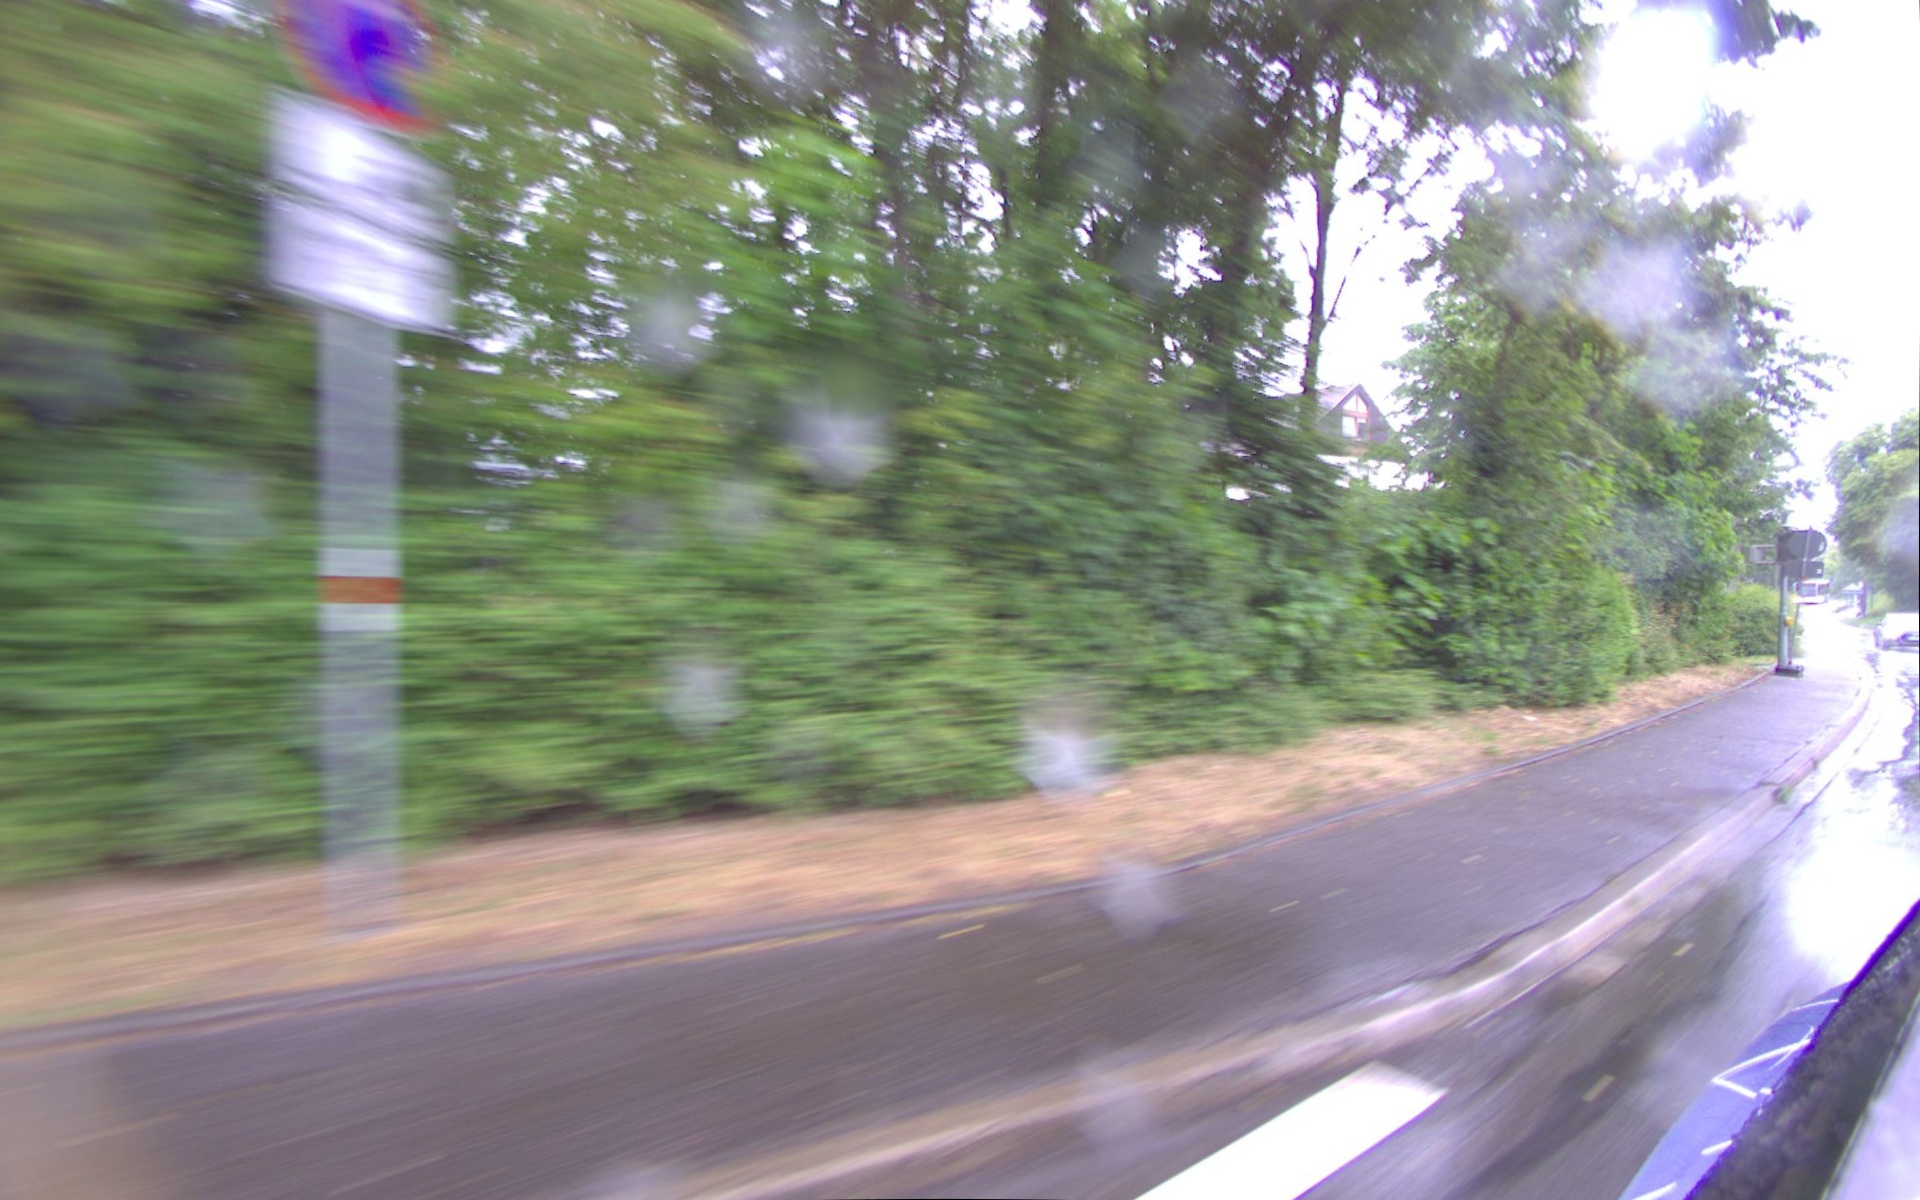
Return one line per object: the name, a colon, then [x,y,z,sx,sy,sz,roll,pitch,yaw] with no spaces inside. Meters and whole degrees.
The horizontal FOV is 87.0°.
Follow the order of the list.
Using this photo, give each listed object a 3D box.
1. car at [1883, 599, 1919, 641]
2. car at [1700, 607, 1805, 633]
car: [37.296,0.746,39.173,1.789,1.572,3.949,-1,-1,35]
car: [46.371,1.137,59.268,4.790,1.432,1.781,-1,-1,41]
